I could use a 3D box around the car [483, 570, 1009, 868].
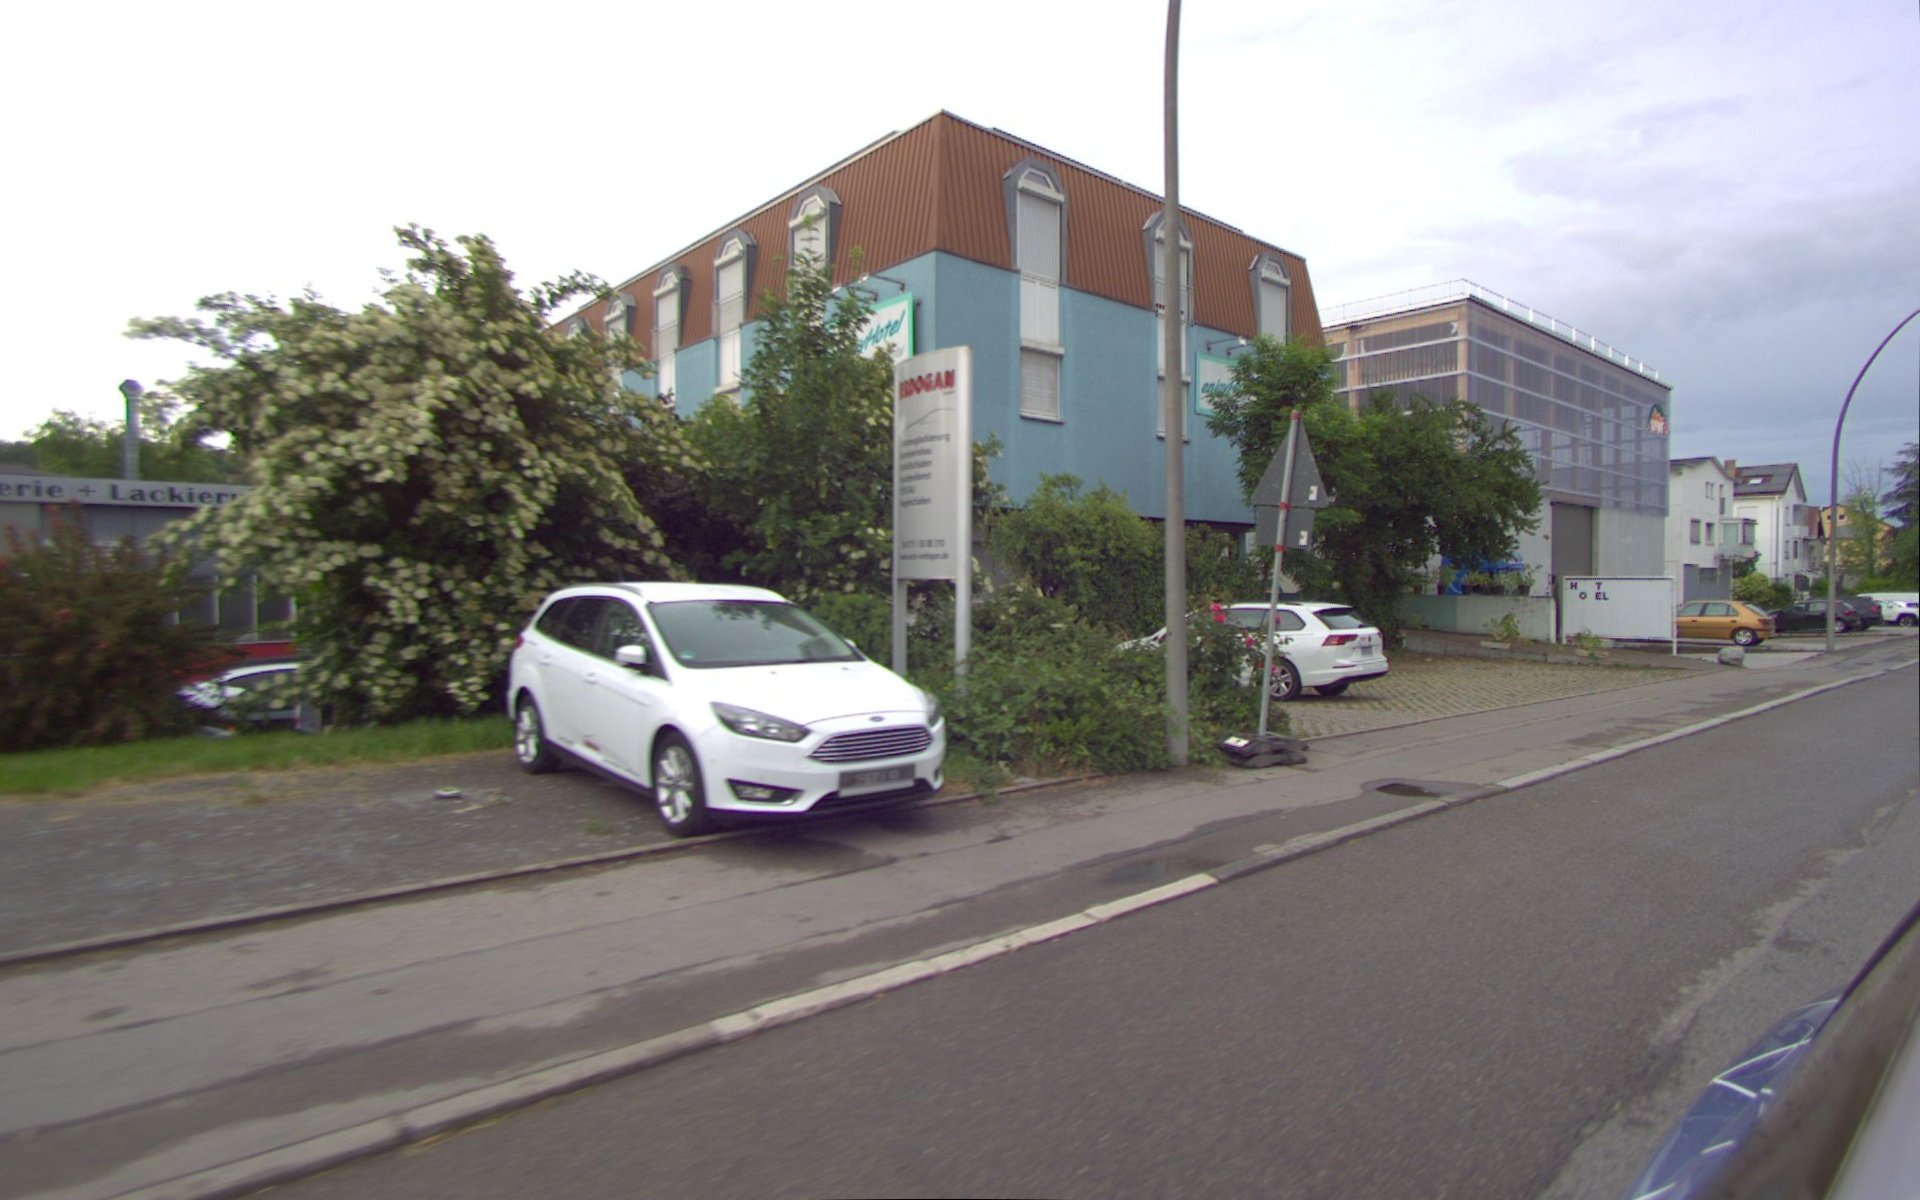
[{"bbox_3d":[-1.818,0.586,7.342,1.870,1.494,4.345,-1,0,-41],"label":"car"}]

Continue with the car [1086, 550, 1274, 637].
[{"bbox_3d":[4.995,-0.157,22.657,4.356,1.762,1.995,-1,0,-44],"label":"car"}]

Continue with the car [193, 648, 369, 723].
[{"bbox_3d":[-16.908,2.059,25.255,3.467,1.523,1.666,-1,0,-41],"label":"car"}]

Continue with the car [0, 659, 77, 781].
[{"bbox_3d":[-15.240,1.837,14.969,3.227,1.674,1.642,-1,0,-43],"label":"car"}]

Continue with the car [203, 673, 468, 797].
[{"bbox_3d":[-10.118,2.093,16.513,3.467,1.494,1.666,-1,0,-41],"label":"car"}]

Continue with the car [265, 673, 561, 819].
[{"bbox_3d":[-8.125,2.051,15.179,3.594,1.605,1.801,-1,0,-43],"label":"car"}]

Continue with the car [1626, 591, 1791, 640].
[{"bbox_3d":[23.764,0.442,32.228,1.603,1.448,3.992,0,0,-42],"label":"car"}]

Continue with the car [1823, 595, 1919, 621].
[{"bbox_3d":[52.059,0.478,57.517,1.818,1.396,4.326,-1,0,-41],"label":"car"}]

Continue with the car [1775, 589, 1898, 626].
[{"bbox_3d":[41.974,0.346,48.521,1.946,1.696,4.233,-1,0,-41],"label":"car"}]

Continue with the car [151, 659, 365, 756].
[{"bbox_3d":[-14.419,2.123,20.851,3.467,1.578,1.666,-1,0,-41],"label":"car"}]

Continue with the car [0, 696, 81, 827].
[{"bbox_3d":[-13.456,2.171,12.987,3.227,1.494,1.706,-1,0,-43],"label":"car"}]

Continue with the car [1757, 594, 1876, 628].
[{"bbox_3d":[39.887,0.497,47.176,1.800,1.509,3.975,0,0,-39],"label":"car"}]

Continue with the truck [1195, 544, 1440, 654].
[{"bbox_3d":[13.361,0.019,38.621,2.676,3.754,8.544,-1,-1,-42],"label":"truck"}]

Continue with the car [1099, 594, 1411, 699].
[{"bbox_3d":[4.503,0.652,15.974,1.848,1.410,4.420,0,-1,-42],"label":"car"}]

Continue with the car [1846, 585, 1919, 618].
[{"bbox_3d":[54.420,0.081,58.395,1.965,1.910,4.740,-1,0,-40],"label":"car"}]

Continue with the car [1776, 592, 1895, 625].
[{"bbox_3d":[43.686,0.425,50.562,1.780,1.555,4.250,-1,-1,-40],"label":"car"}]

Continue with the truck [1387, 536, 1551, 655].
[{"bbox_3d":[17.210,-0.078,34.329,2.674,3.721,4.147,-1,-2,-43],"label":"truck"}]

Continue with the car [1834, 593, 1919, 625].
[{"bbox_3d":[50.551,0.493,54.950,1.861,1.645,4.452,-1,0,-41],"label":"car"}]

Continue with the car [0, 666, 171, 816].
[{"bbox_3d":[-11.267,1.643,11.717,3.227,1.494,1.619,-1,0,-43],"label":"car"}]

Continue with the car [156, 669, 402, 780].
[{"bbox_3d":[-12.086,2.123,18.060,3.467,1.494,1.666,-1,0,-41],"label":"car"}]
